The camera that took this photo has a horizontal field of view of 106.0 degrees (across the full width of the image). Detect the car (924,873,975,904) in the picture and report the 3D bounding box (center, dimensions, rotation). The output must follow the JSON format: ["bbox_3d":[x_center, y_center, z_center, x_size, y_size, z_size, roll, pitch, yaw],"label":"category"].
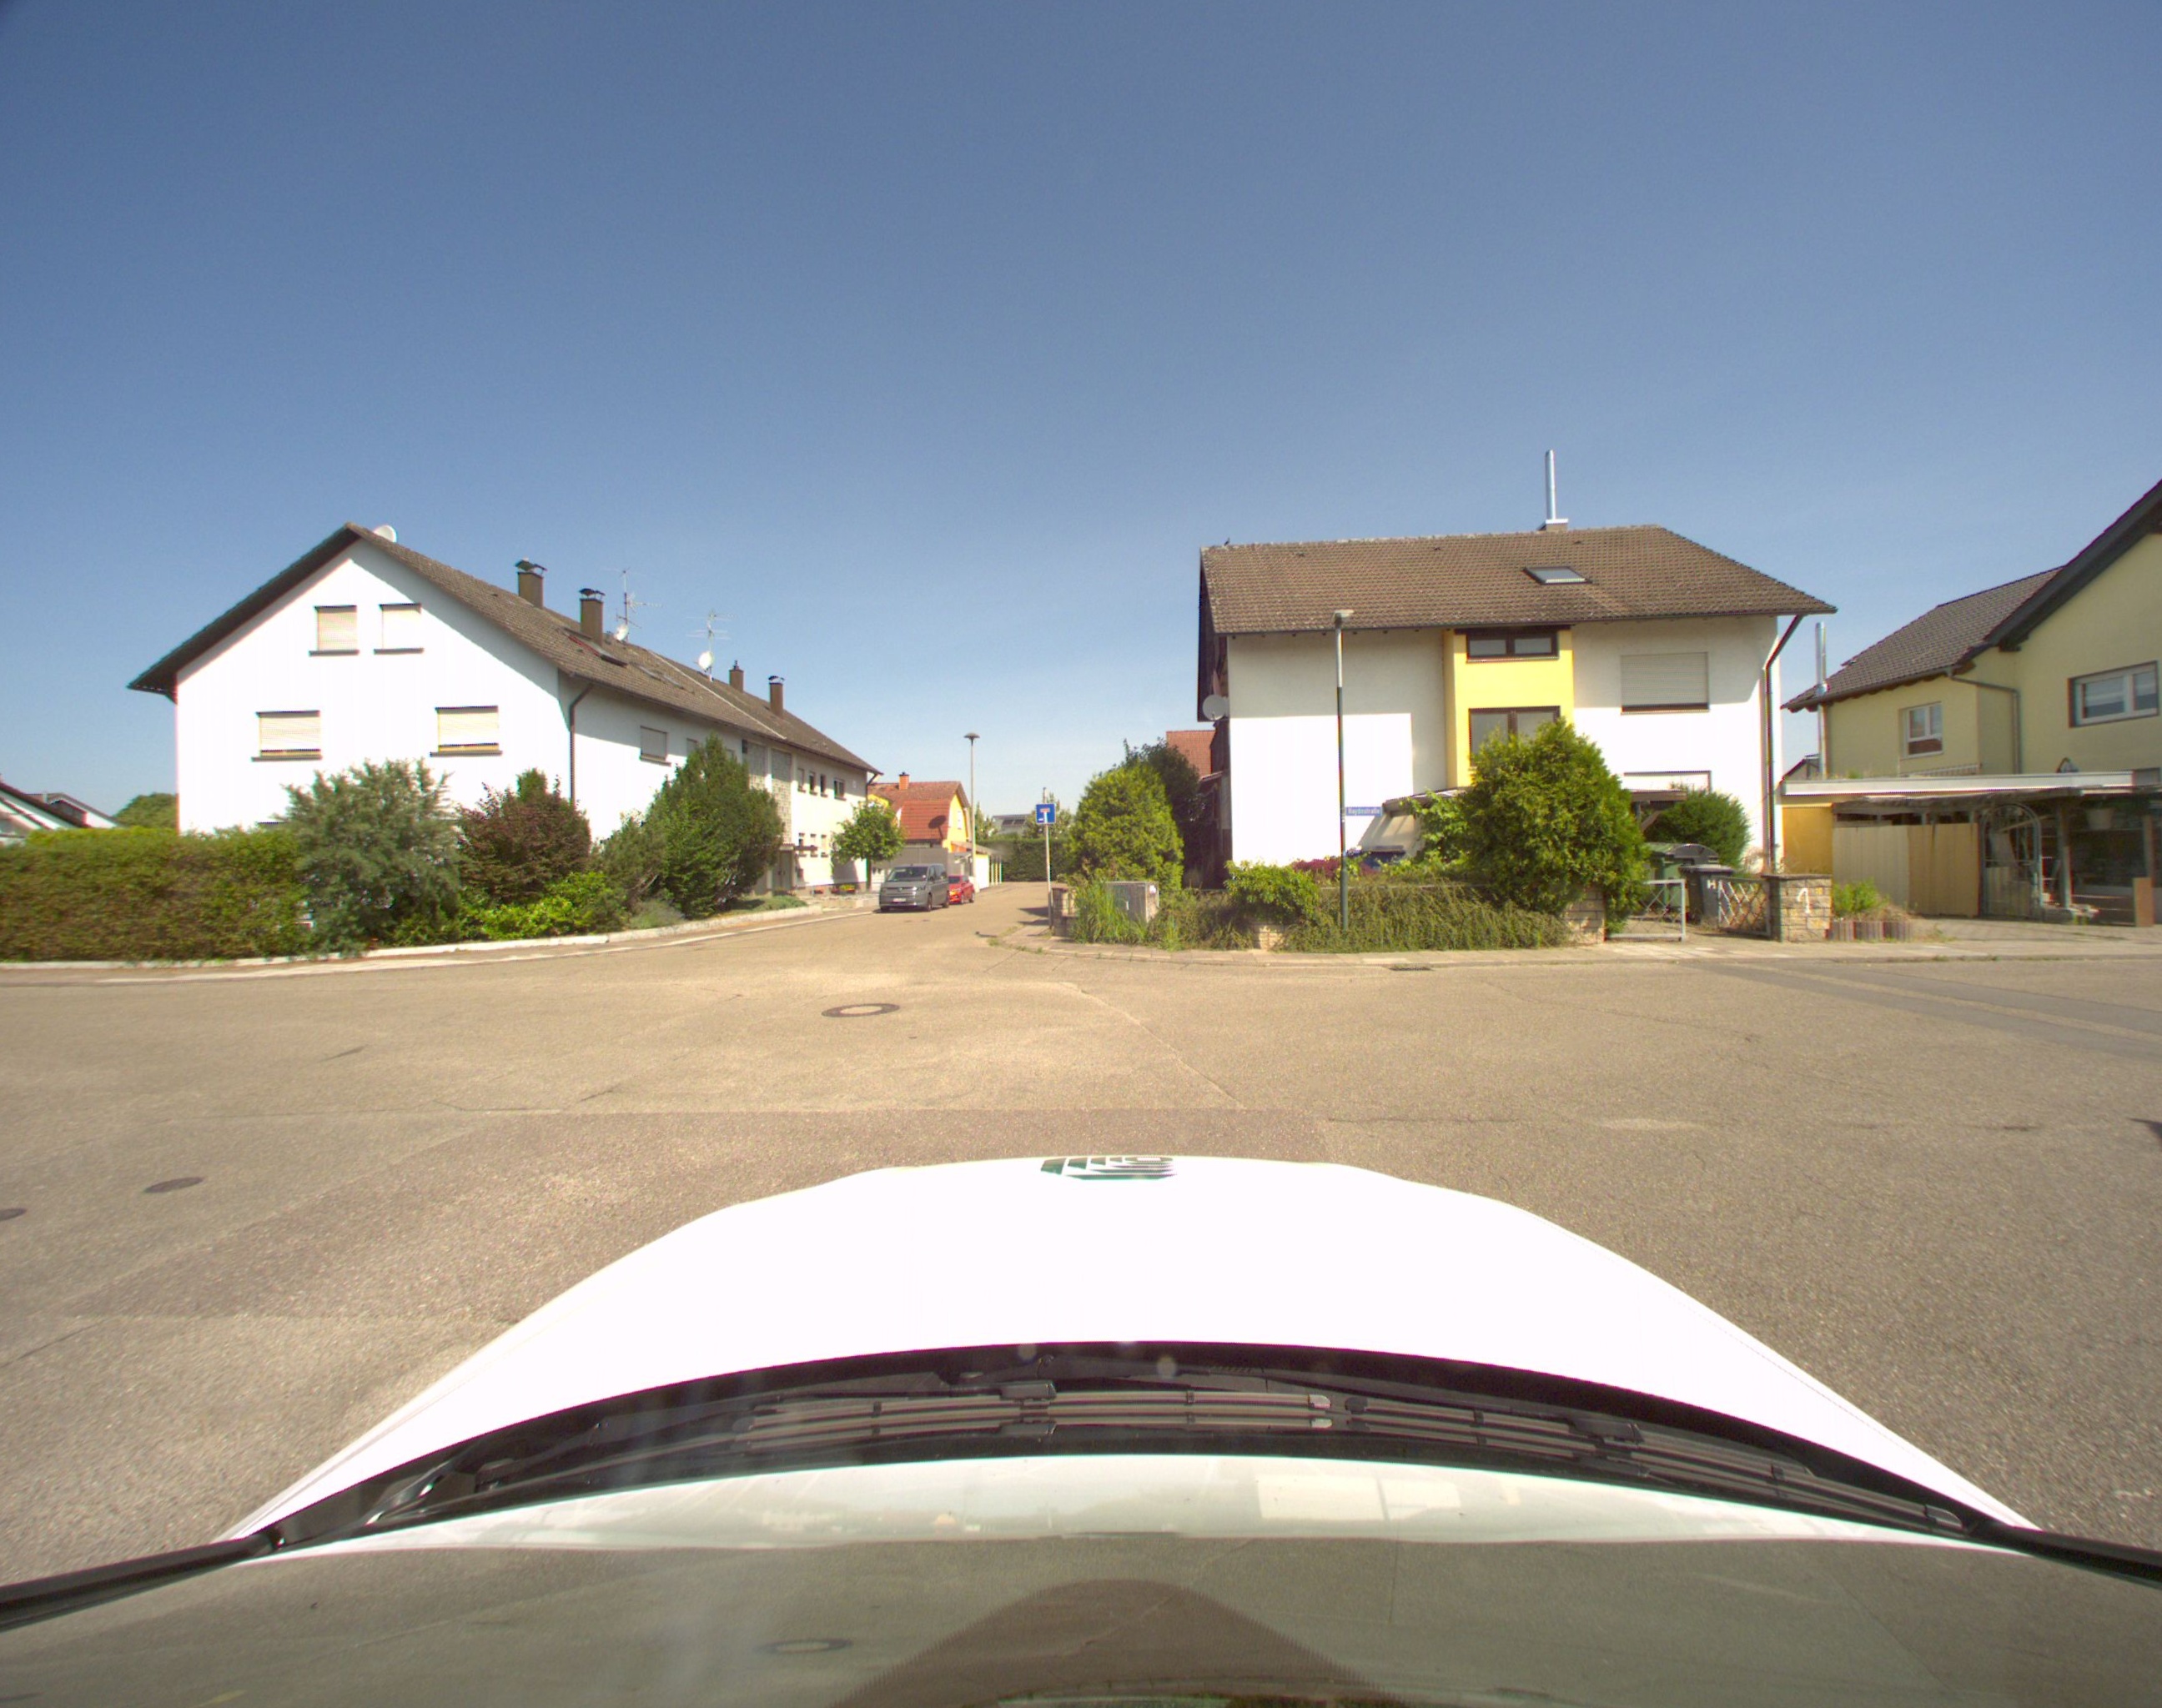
[{"bbox_3d":[-6.308,1.648,39.440,1.645,1.365,3.781,-1,-1,3],"label":"car"}]

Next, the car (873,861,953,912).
[{"bbox_3d":[-6.701,1.254,32.930,1.892,1.870,4.378,-1,-1,6],"label":"car"}]
